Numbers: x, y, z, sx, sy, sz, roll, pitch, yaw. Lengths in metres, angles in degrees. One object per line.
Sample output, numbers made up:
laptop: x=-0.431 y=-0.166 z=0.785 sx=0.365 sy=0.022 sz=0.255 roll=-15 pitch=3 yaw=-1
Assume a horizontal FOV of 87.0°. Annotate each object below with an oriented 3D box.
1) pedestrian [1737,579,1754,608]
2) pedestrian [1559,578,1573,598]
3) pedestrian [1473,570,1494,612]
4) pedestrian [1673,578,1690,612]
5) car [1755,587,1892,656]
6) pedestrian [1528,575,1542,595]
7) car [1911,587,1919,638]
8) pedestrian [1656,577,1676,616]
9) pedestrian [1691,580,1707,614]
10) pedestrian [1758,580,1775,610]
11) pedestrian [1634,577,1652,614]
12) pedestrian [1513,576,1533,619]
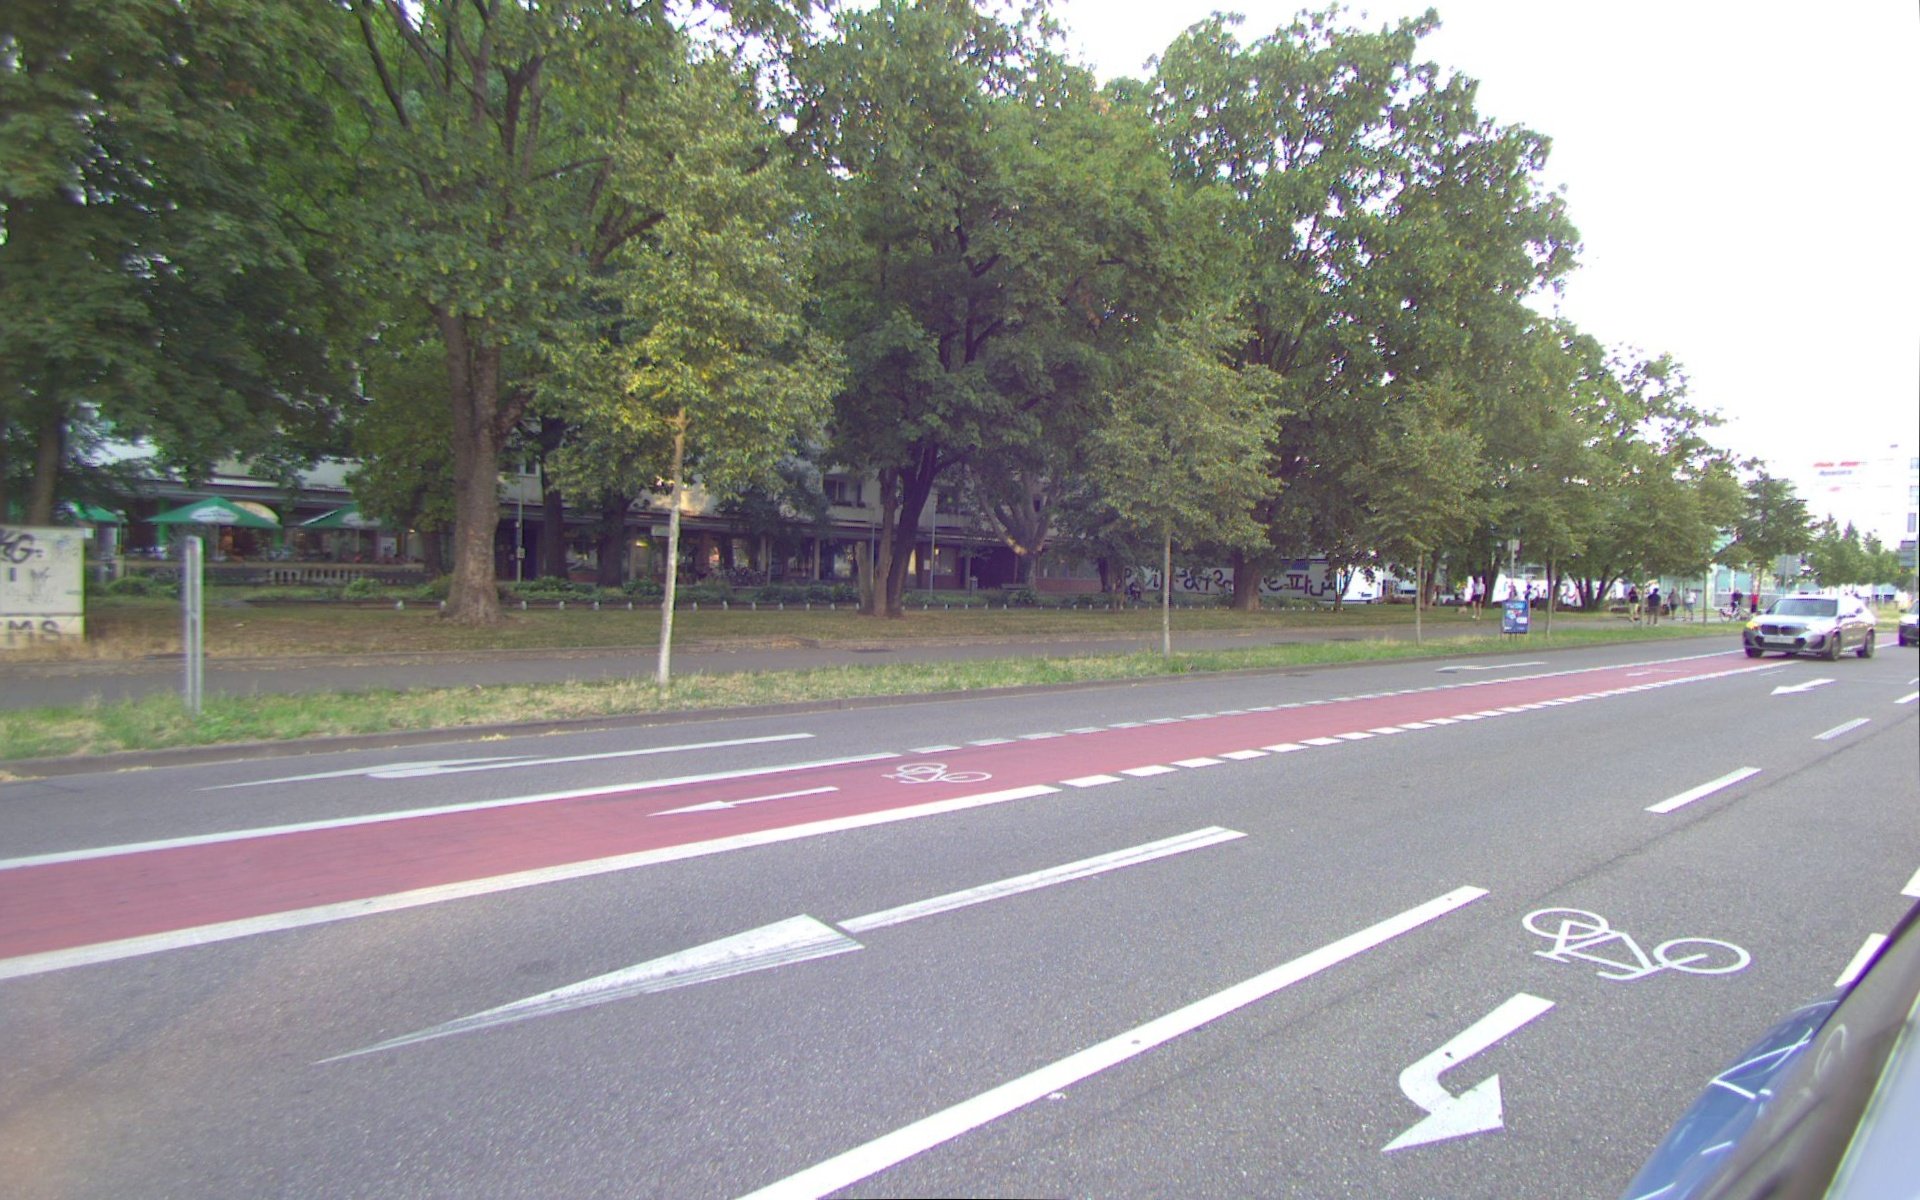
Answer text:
pedestrian: x=47.776 y=-0.398 z=61.557 sx=0.497 sy=1.779 sz=0.638 roll=0 pitch=2 yaw=-40
pedestrian: x=42.537 y=-0.853 z=71.062 sx=0.550 sy=1.371 sz=0.662 roll=0 pitch=2 yaw=-40
pedestrian: x=20.398 y=-0.343 z=39.442 sx=0.513 sy=1.621 sz=0.500 roll=0 pitch=2 yaw=-41
pedestrian: x=38.273 y=-0.259 z=53.678 sx=0.707 sy=1.751 sz=0.519 roll=0 pitch=2 yaw=-40
car: x=22.350 y=0.500 z=26.142 sx=4.256 sy=1.642 sz=1.827 roll=0 pitch=0 yaw=-37
pedestrian: x=40.865 y=-1.058 z=71.880 sx=0.669 sy=1.371 sz=0.631 roll=0 pitch=2 yaw=-41
car: x=33.111 y=0.420 z=33.605 sx=4.141 sy=1.647 sz=1.781 roll=0 pitch=1 yaw=-41
pedestrian: x=31.711 y=-0.159 z=45.483 sx=0.546 sy=1.760 sz=0.558 roll=0 pitch=2 yaw=-41
pedestrian: x=38.693 y=-0.138 z=52.992 sx=0.707 sy=1.751 sz=0.508 roll=0 pitch=2 yaw=-40
pedestrian: x=48.366 y=-0.325 z=60.698 sx=0.497 sy=1.779 sz=0.638 roll=0 pitch=2 yaw=-40
pedestrian: x=33.151 y=-0.208 z=49.100 sx=0.707 sy=1.751 sz=0.508 roll=0 pitch=2 yaw=-40
pedestrian: x=21.500 y=-0.086 z=38.640 sx=0.359 sy=1.621 sz=0.500 roll=1 pitch=2 yaw=-40
